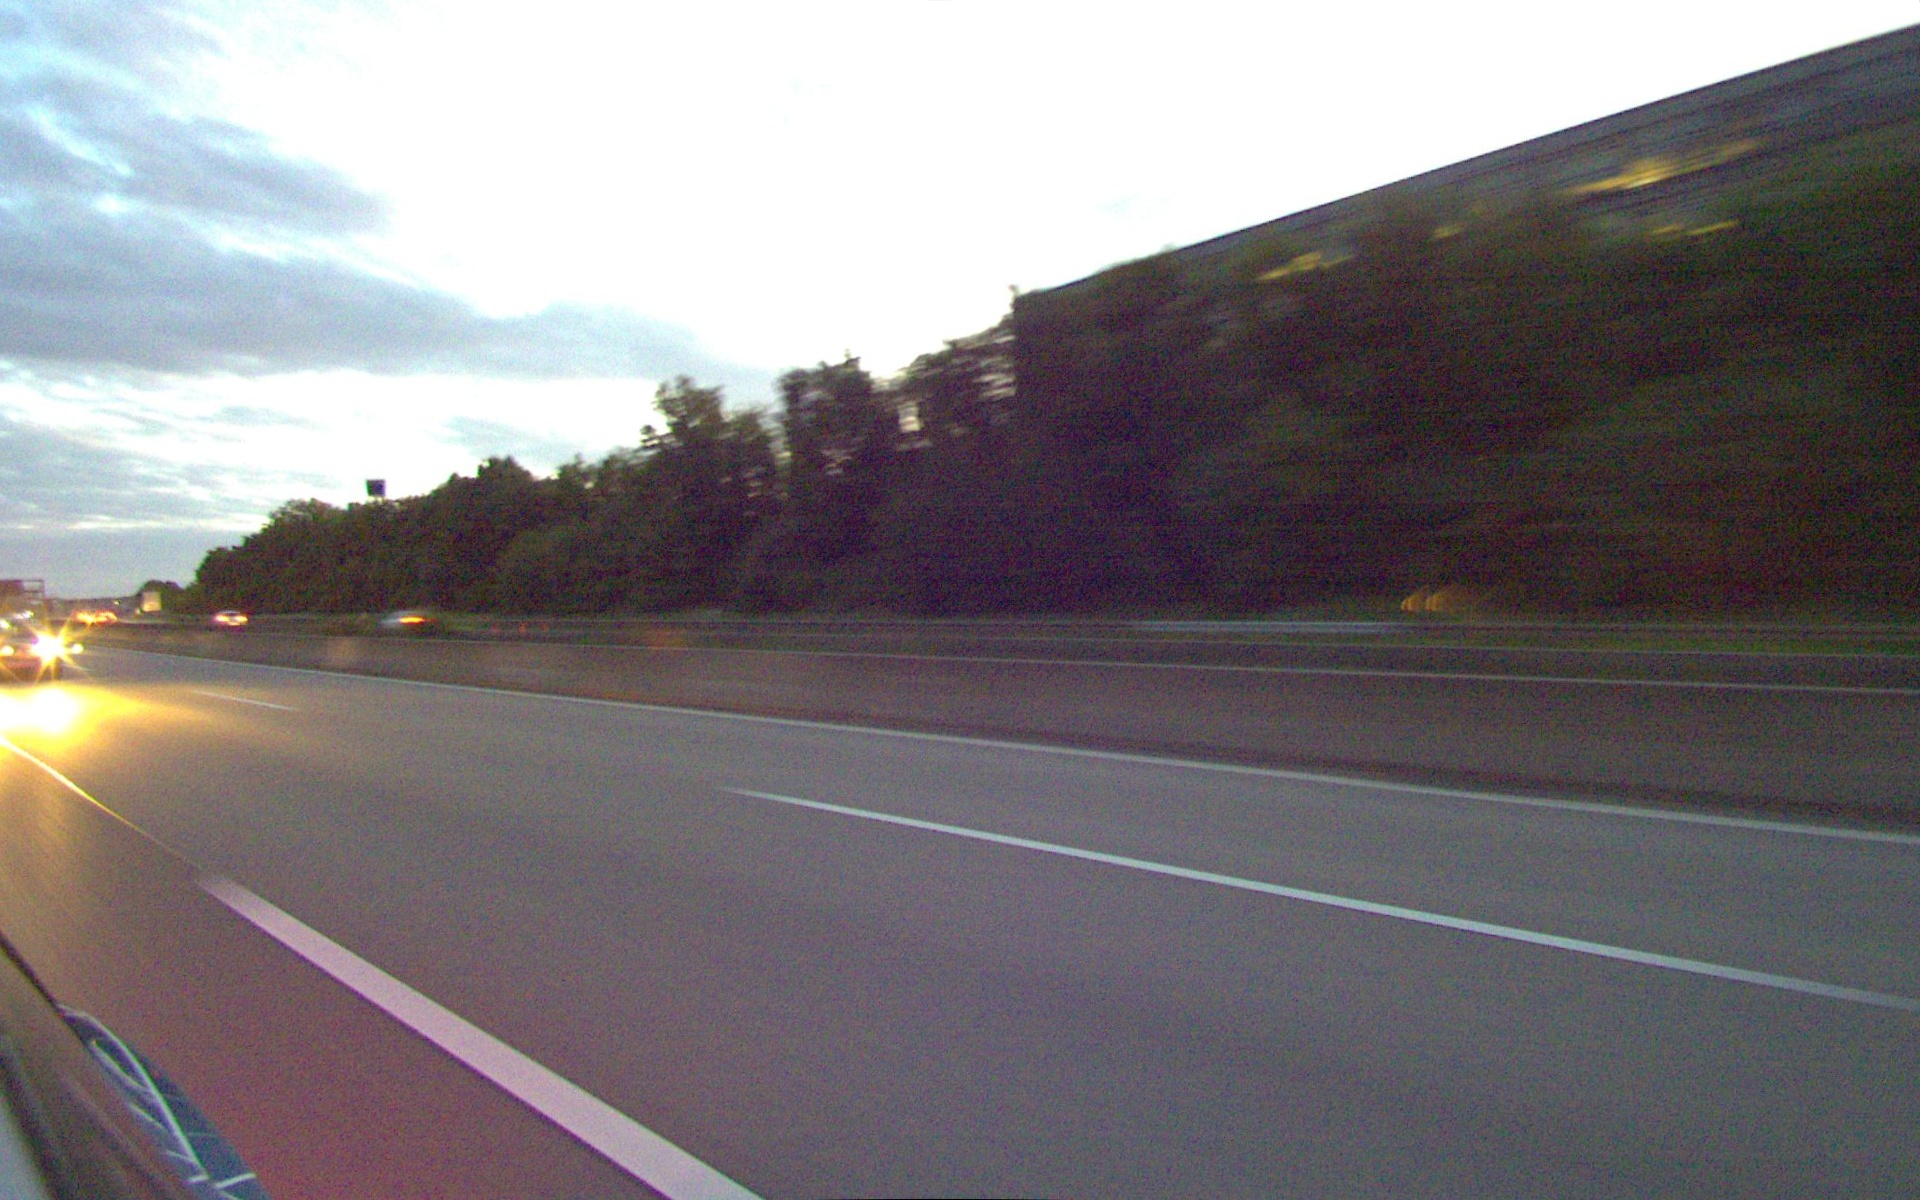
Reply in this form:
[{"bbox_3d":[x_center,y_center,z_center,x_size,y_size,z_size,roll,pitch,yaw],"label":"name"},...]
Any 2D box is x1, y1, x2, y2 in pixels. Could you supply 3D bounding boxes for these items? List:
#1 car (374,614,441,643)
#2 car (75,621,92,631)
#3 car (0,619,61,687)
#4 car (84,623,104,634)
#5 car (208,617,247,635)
[{"bbox_3d":[-32.764,1.664,59.961,5.005,1.545,1.972,-1,0,42],"label":"car"},{"bbox_3d":[-164.063,4.866,189.426,4.842,1.804,1.971,-1,0,44],"label":"car"},{"bbox_3d":[-23.035,1.245,24.404,4.001,1.491,1.694,-1,0,44],"label":"car"},{"bbox_3d":[-115.644,3.771,135.146,1.813,1.346,4.913,-1,0,-44],"label":"car"},{"bbox_3d":[-66.079,2.315,91.282,4.506,1.516,1.972,-1,0,43],"label":"car"}]
